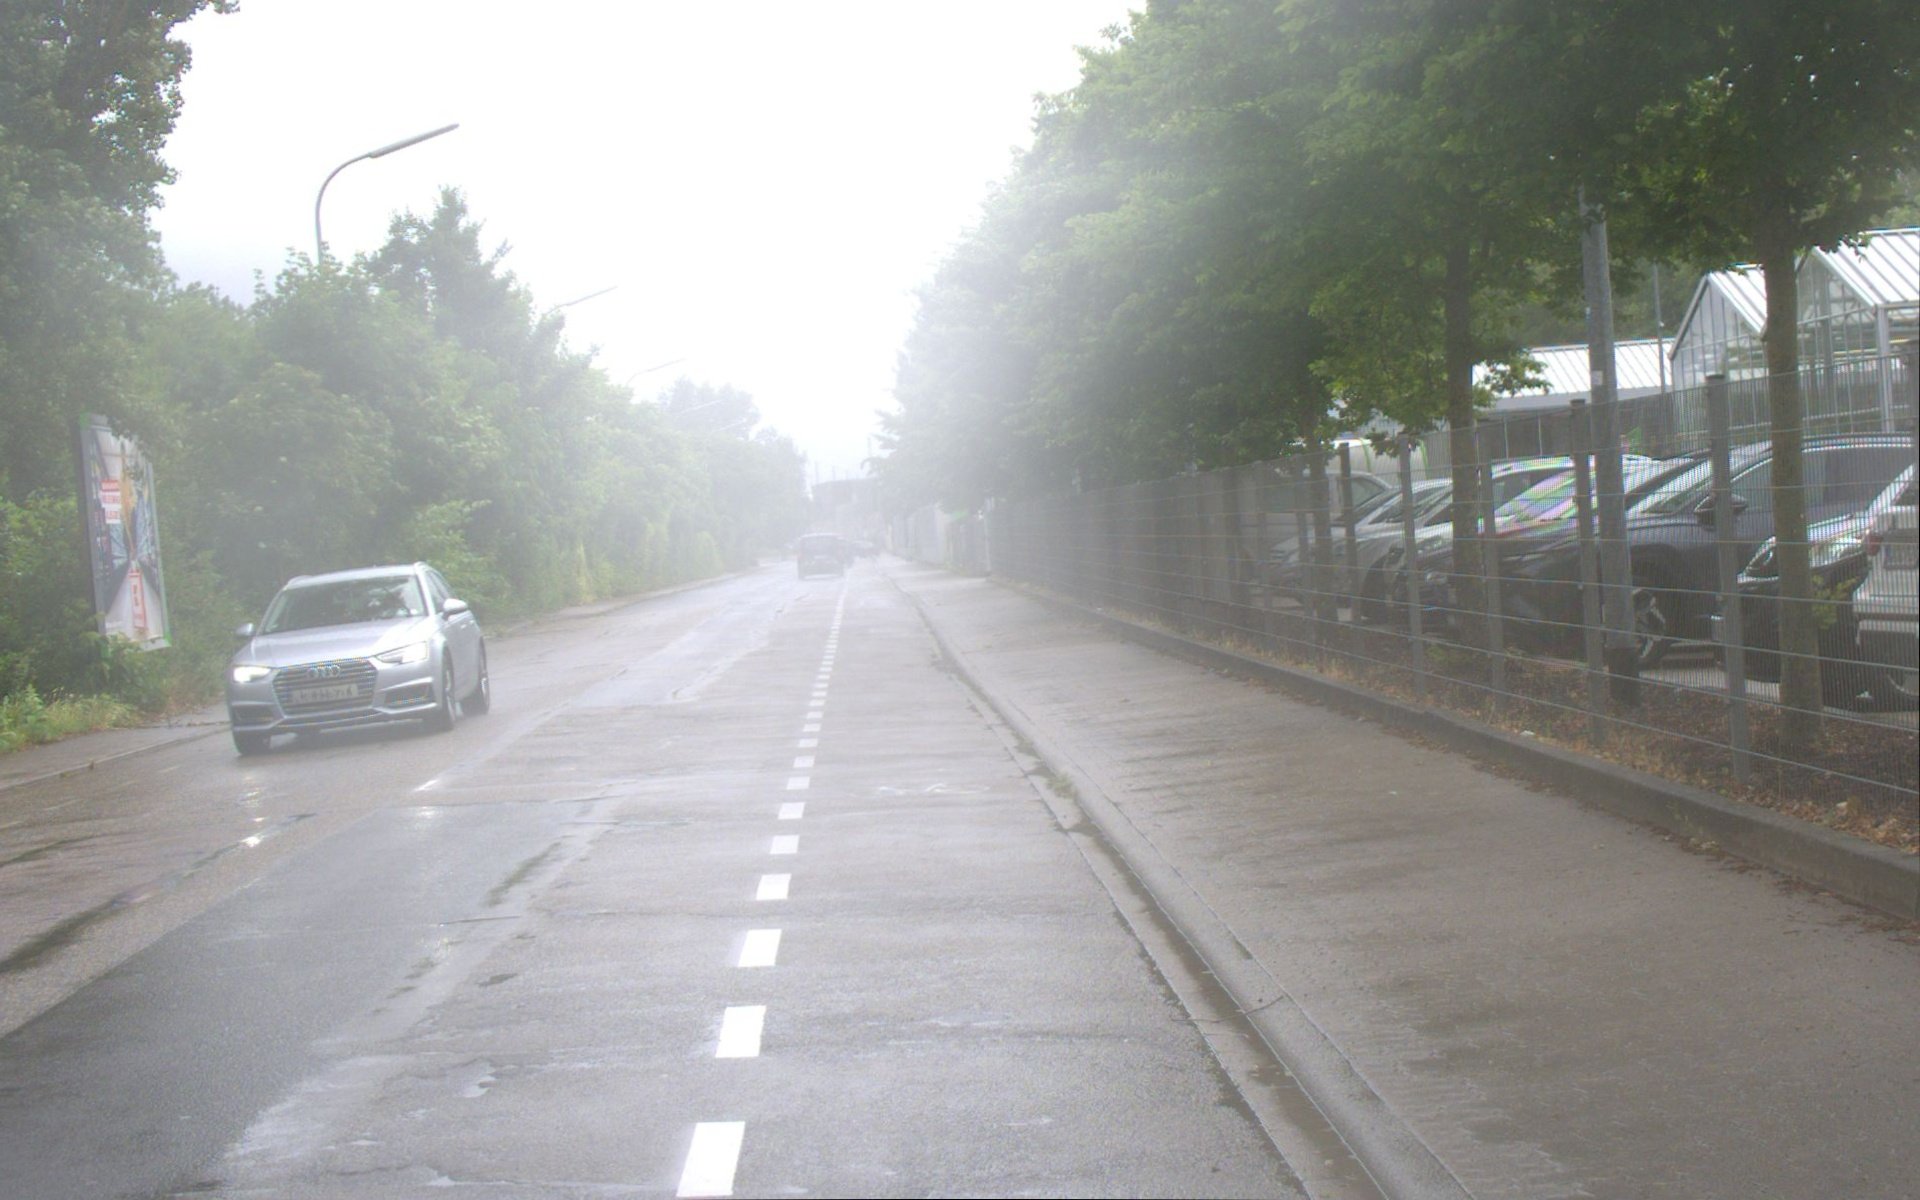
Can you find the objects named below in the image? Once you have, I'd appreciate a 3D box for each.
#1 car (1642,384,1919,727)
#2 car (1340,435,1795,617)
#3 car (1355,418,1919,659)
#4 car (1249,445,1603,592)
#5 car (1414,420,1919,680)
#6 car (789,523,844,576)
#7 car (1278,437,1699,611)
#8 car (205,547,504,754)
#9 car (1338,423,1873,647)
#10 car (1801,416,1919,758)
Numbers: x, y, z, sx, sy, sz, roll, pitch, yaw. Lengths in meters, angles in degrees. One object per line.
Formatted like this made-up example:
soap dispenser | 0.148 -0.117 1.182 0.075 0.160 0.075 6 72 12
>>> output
car | 6.295 -0.387 19.681 4.207 1.788 1.824 -5 2 -8
car | 6.296 -0.774 35.834 4.207 1.528 1.824 -5 2 -8
car | 5.599 -0.517 28.407 4.207 1.613 1.824 -5 2 -8
car | 6.075 -1.072 45.084 4.208 1.583 1.824 -4 2 -4
car | 5.717 -0.422 25.538 4.207 1.613 1.824 -5 2 -8
car | -5.701 -1.971 136.304 1.993 1.904 4.201 -5 1 -2
car | 5.882 -0.856 38.493 4.207 1.583 1.824 -5 2 -8
car | -5.209 0.378 30.100 1.733 1.445 4.381 -7 1 -1
car | 5.694 -0.585 30.551 4.207 1.613 1.824 -5 2 -8
car | 6.505 -0.238 16.802 4.208 1.595 1.824 -5 1 -2
